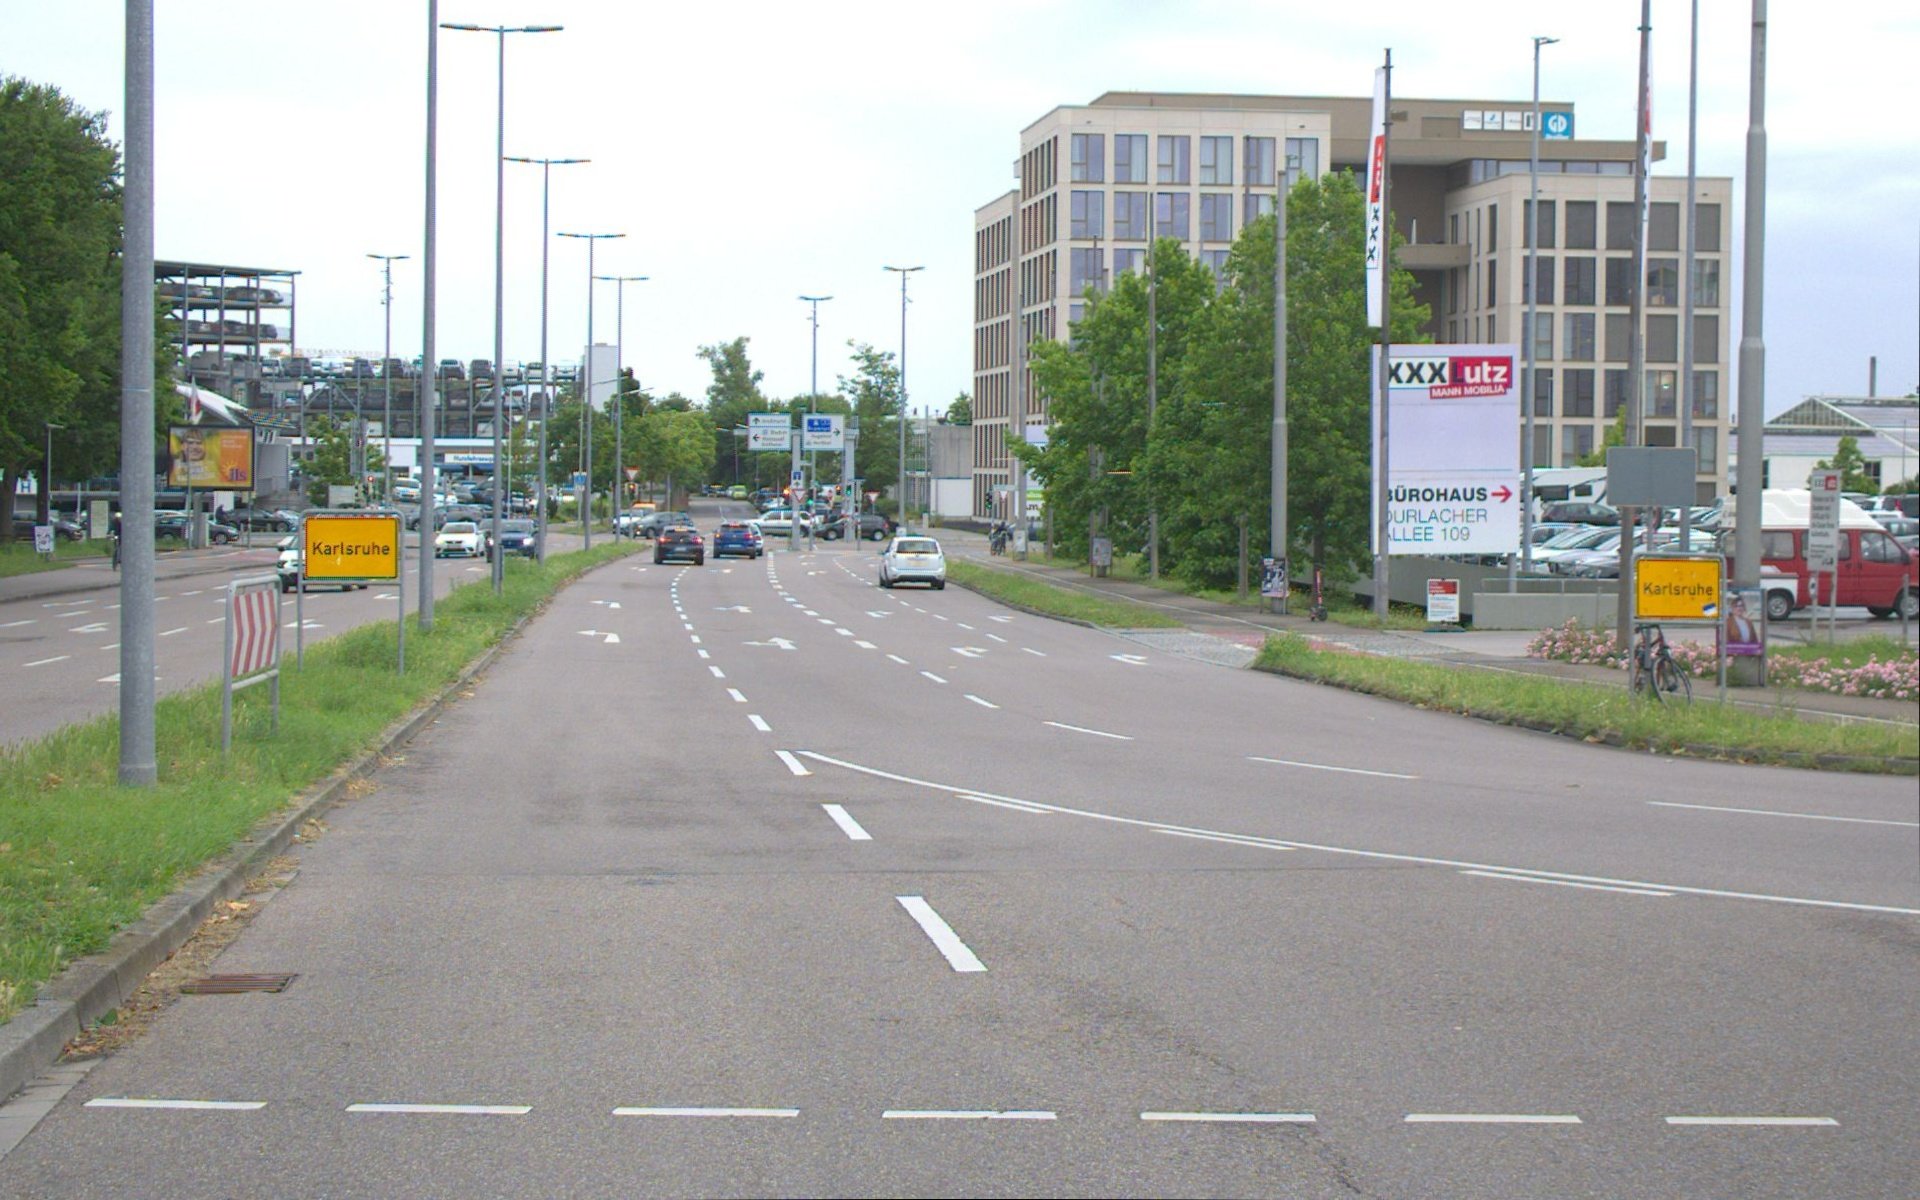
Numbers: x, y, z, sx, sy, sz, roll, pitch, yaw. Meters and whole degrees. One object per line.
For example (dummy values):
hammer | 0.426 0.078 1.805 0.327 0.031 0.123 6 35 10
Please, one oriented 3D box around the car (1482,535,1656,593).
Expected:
car | 15.685 -0.932 88.610 4.053 1.345 1.764 1 4 -6

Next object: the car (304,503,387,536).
car | -33.931 -4.428 189.683 4.431 1.705 2.001 1 3 -11

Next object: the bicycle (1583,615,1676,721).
bicycle | 6.959 0.695 35.805 0.663 1.045 1.691 0 1 1

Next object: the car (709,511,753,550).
car | -9.798 -2.983 146.897 1.834 1.509 4.001 2 2 -4

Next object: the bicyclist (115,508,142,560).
bicyclist | -25.796 -2.049 106.646 0.640 1.572 1.000 2 2 -5

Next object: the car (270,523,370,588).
car | -15.803 -1.126 85.016 1.930 1.514 4.183 -2 1 -4

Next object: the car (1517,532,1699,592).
car | 16.080 -0.956 85.417 4.053 1.345 1.836 1 4 -6

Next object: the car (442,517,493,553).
car | -20.432 -2.695 142.717 1.865 1.449 4.169 -1 1 -5

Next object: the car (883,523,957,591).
car | -1.195 -1.282 101.294 1.993 1.746 4.181 1 4 -3

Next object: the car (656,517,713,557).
car | -10.232 -2.337 127.562 1.987 1.423 4.242 1 1 -6

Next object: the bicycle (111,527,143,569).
bicycle | -25.830 -1.628 106.639 0.642 1.246 2.057 2 2 -5

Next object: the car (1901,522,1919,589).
car | 26.103 -1.085 86.697 4.172 1.658 1.833 1 2 -2

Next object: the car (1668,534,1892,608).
car | 18.080 -0.646 75.907 4.374 1.456 1.961 1 4 -3

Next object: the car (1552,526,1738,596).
car | 16.533 -0.954 83.138 4.053 1.535 1.764 1 4 -3

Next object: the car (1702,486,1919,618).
car | 18.015 -1.003 71.150 4.722 2.570 2.171 1 4 -3

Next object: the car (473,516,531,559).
car | -16.776 -2.312 126.018 1.930 1.481 4.441 -1 2 -6

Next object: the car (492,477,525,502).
car | -32.765 -8.020 249.432 1.776 1.700 3.917 1 4 1

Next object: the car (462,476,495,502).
car | -34.945 -8.074 249.416 1.776 1.700 3.917 1 4 1

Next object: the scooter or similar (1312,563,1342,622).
scooter or similar | 7.666 -0.157 71.865 0.370 1.186 1.248 0 2 -5

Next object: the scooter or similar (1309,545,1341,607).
scooter or similar | 8.480 -0.561 79.956 0.650 1.416 1.819 0 1 4
